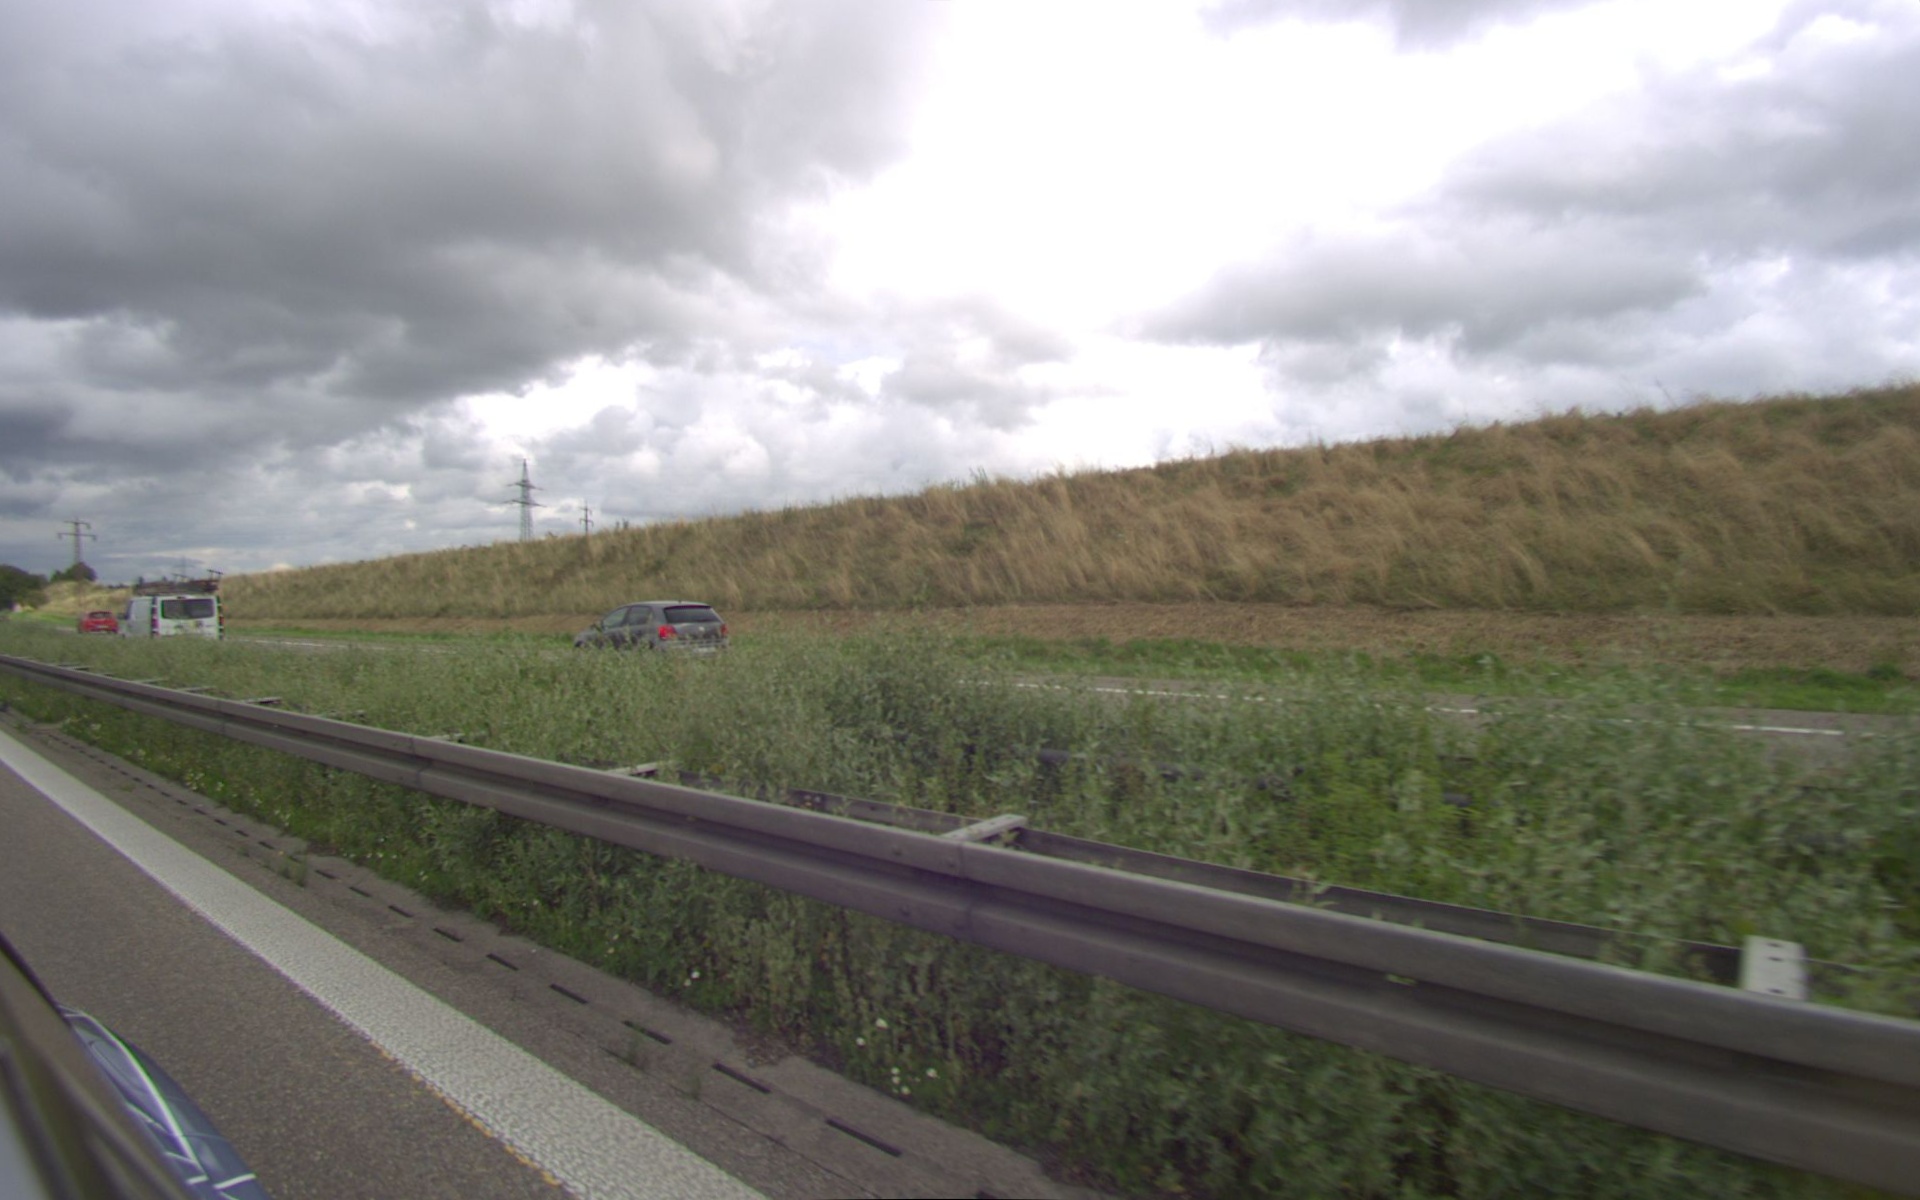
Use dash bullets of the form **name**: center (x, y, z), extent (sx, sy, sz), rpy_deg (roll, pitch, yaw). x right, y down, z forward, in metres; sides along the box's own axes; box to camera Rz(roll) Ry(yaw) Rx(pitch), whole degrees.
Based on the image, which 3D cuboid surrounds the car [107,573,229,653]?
- **car**: center (-25.744, 0.388, 32.806), extent (5.867, 2.365, 1.973), rpy_deg (0, 1, 41)

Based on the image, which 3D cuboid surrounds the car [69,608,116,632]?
- **car**: center (-55.298, 1.251, 64.502), extent (4.341, 1.414, 1.706), rpy_deg (0, 1, 42)

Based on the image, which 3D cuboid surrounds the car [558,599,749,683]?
- **car**: center (-6.073, 0.730, 19.821), extent (3.999, 1.465, 1.754), rpy_deg (0, 1, 42)

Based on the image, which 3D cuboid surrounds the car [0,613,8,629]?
- **car**: center (-110.483, 2.389, 115.849), extent (4.000, 1.715, 1.797), rpy_deg (0, 1, 42)
